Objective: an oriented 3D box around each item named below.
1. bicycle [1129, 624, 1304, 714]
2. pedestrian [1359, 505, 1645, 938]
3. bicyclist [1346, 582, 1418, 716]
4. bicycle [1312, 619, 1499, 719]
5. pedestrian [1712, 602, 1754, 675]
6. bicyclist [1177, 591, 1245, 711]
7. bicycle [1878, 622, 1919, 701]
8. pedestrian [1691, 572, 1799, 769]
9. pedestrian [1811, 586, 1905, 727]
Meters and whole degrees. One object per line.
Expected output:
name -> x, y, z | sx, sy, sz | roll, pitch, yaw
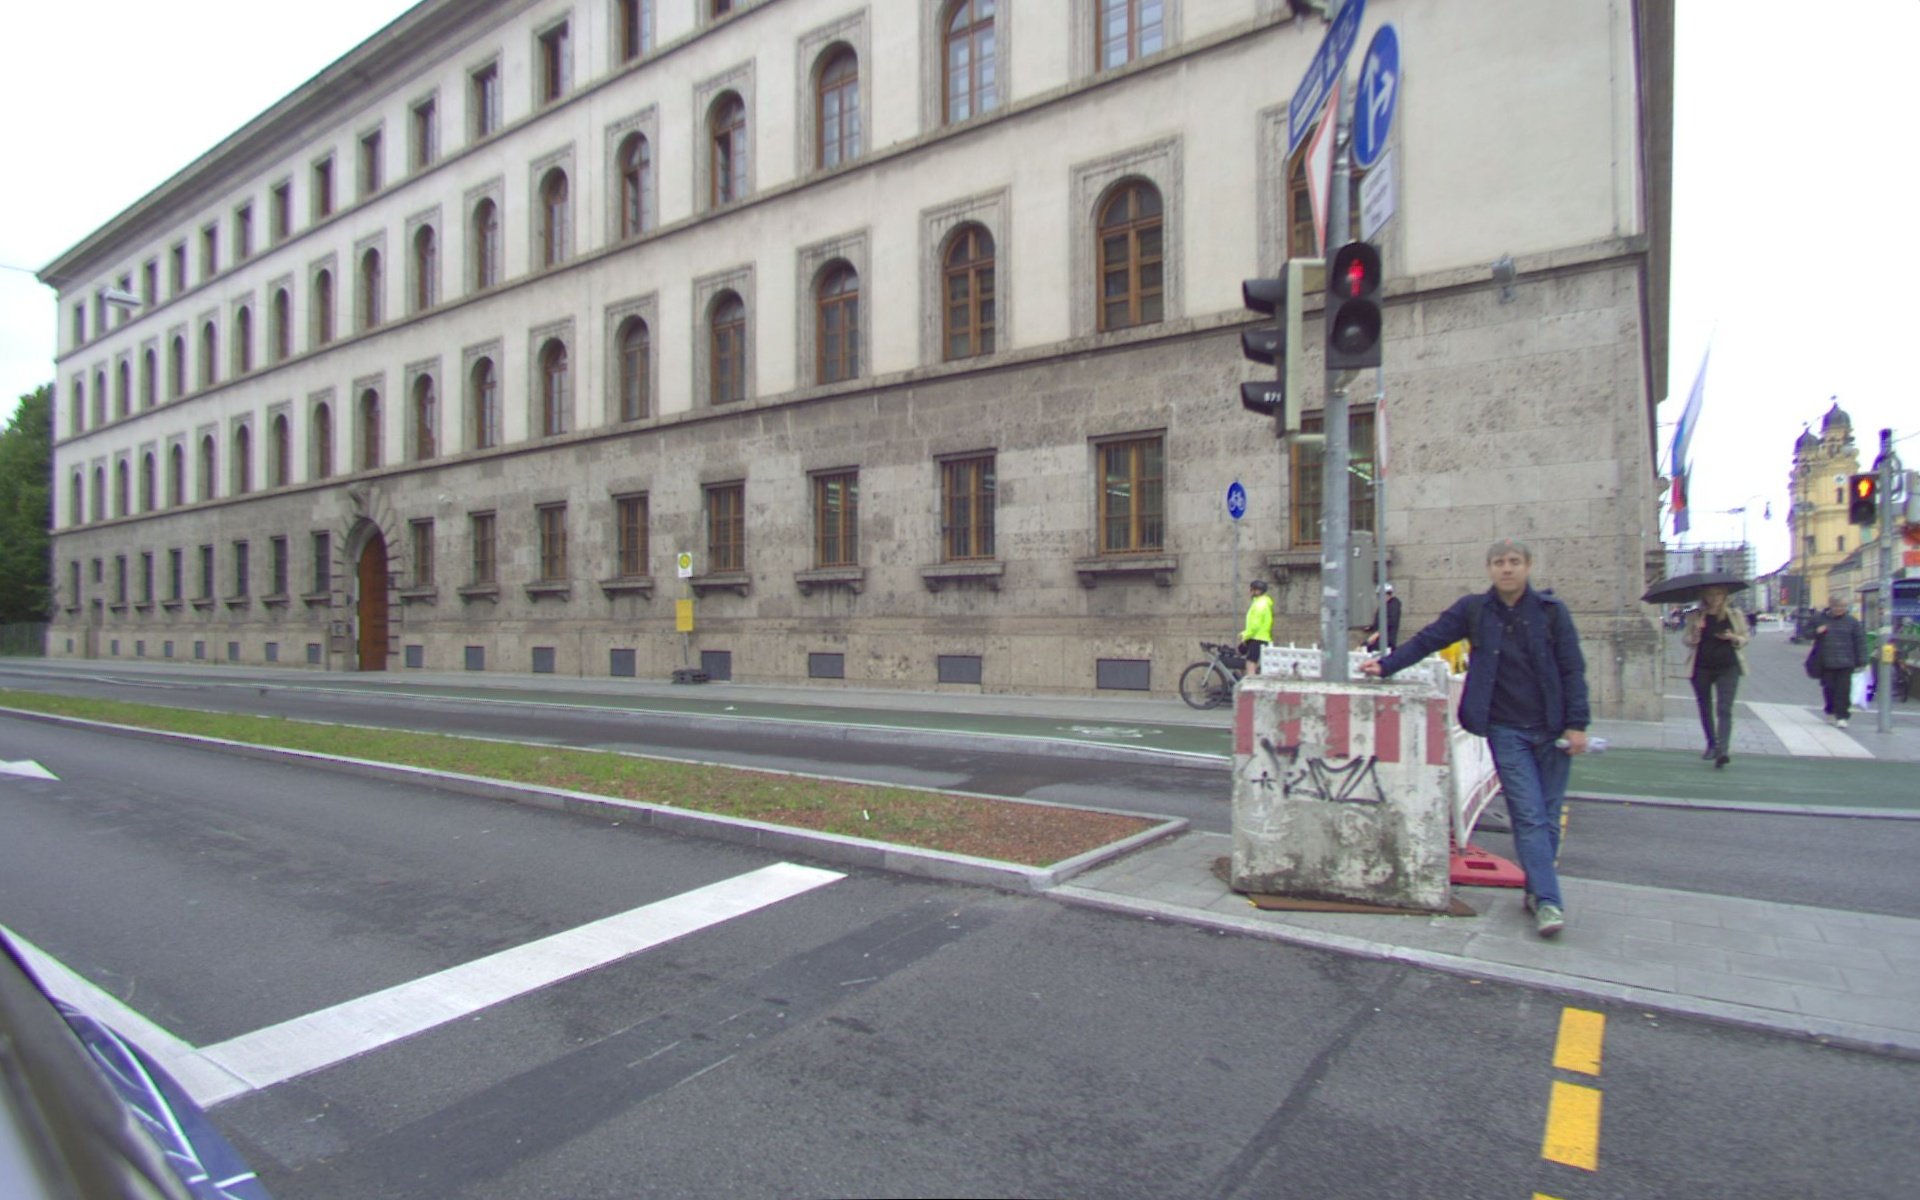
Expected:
bicycle -> 3.842, 1.007, 15.304 | 2.446, 1.252, 0.779 | -2, -1, 40
pedestrian -> 2.395, 0.504, 4.569 | 1.037, 1.756, 0.510 | -2, -1, 26
bicyclist -> 5.870, 0.655, 14.062 | 0.688, 1.789, 0.790 | -2, -1, 39
bicycle -> 6.076, 0.910, 13.897 | 2.197, 1.252, 0.779 | -2, -1, 40
pedestrian -> 18.264, 0.901, 23.928 | 0.738, 1.667, 0.717 | 2, 1, 37
bicyclist -> 3.806, 0.750, 15.328 | 0.688, 1.762, 0.790 | -2, -1, 39
bicycle -> 16.485, 1.032, 17.530 | 0.380, 1.252, 1.970 | -2, 0, 29
pedestrian -> 7.516, 0.642, 9.719 | 0.738, 1.785, 0.836 | -2, -1, 37
pedestrian -> 11.131, 0.675, 12.574 | 0.737, 1.667, 0.718 | 2, 1, 33
